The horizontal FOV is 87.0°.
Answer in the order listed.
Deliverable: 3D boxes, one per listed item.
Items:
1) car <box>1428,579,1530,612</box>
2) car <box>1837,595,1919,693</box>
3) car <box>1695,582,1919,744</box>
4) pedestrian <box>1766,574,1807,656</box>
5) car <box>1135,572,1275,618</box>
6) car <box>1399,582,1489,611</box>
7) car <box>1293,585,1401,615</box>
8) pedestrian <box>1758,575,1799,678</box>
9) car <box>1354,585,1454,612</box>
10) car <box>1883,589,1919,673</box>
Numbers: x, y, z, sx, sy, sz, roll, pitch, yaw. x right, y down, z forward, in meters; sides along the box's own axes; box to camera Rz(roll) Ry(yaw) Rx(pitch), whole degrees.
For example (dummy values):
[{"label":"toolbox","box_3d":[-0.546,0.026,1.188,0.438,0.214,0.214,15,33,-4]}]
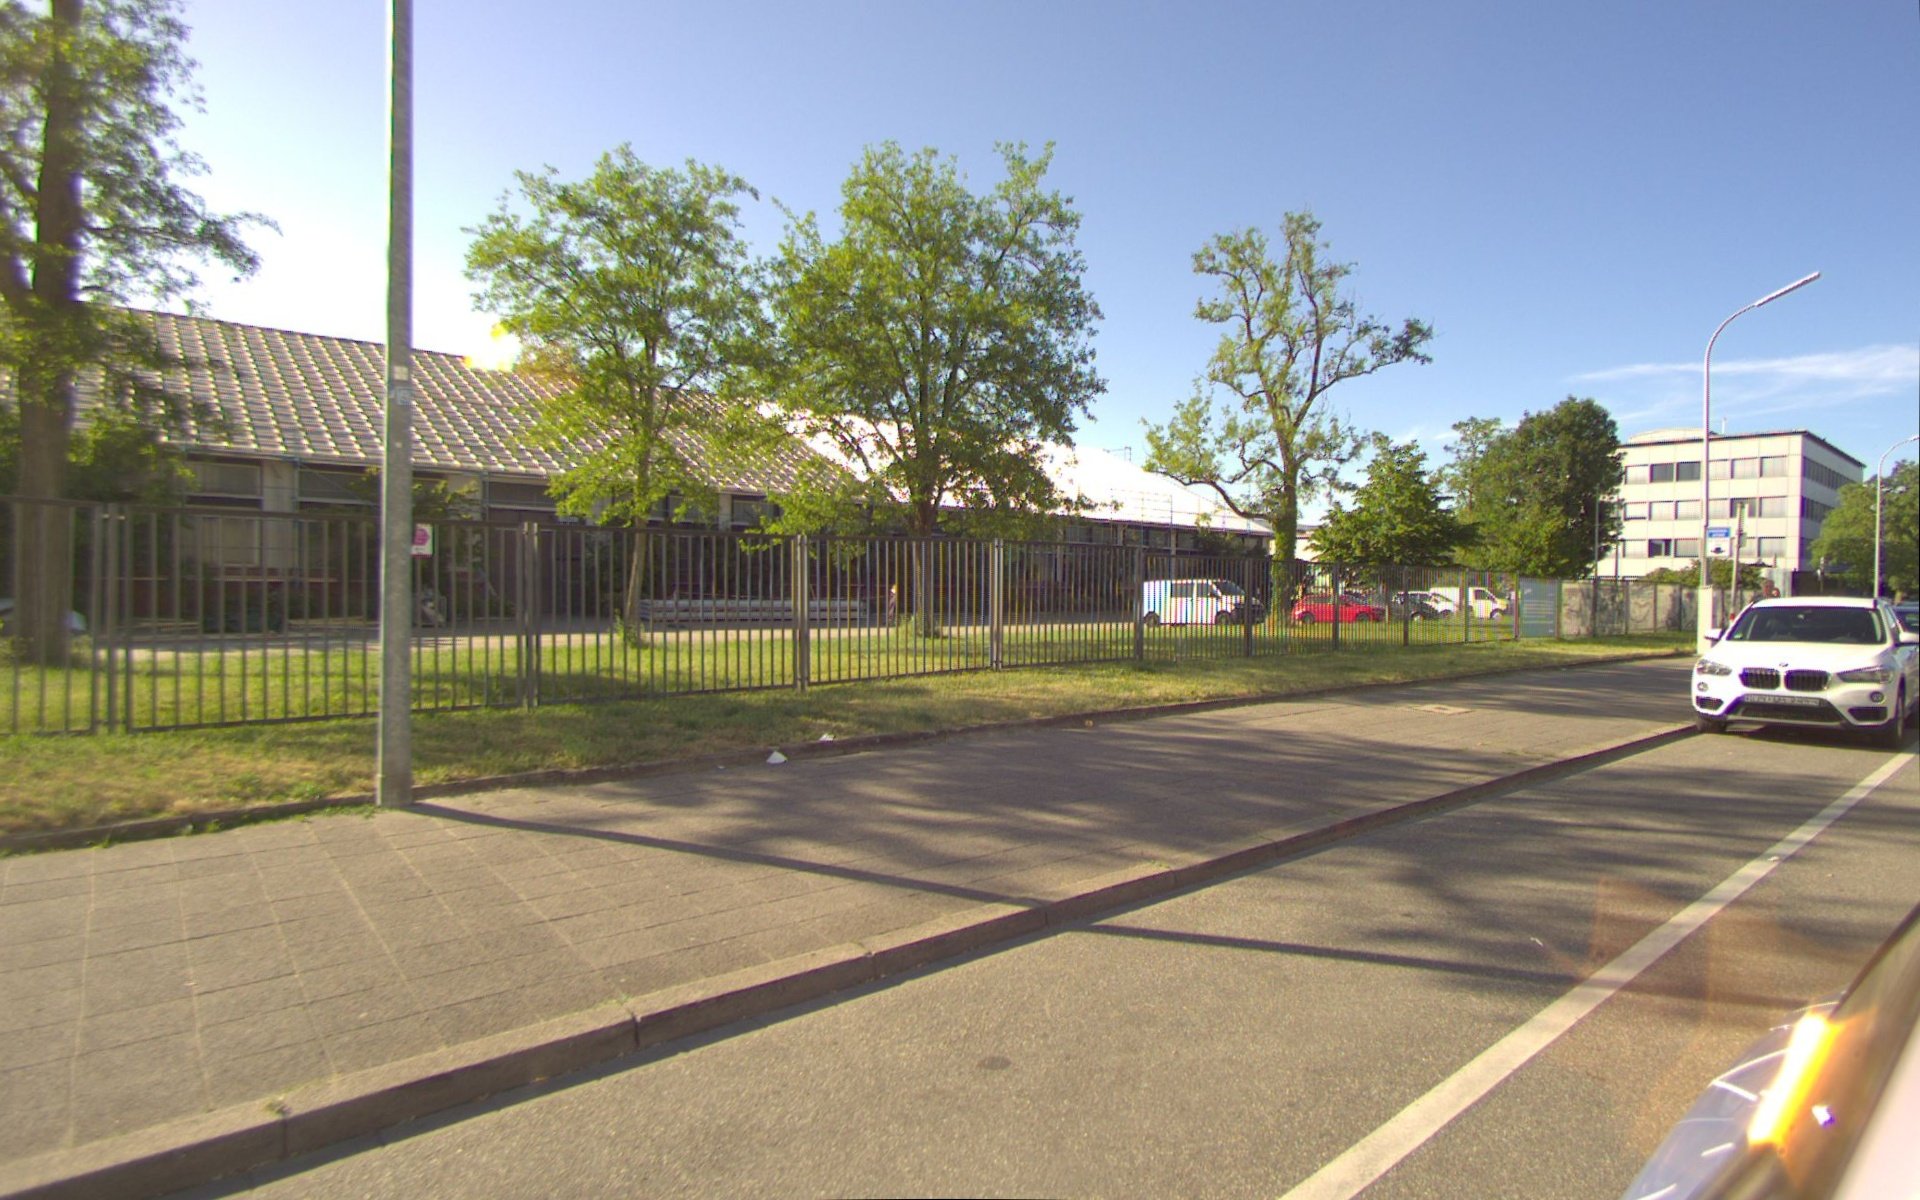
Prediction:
[{"label":"car","box_3d":[28.776,-0.295,56.212,4.630,1.689,1.968,2,1,45]},{"label":"car","box_3d":[16.187,0.680,17.097,3.914,1.506,1.702,0,0,-44]},{"label":"car","box_3d":[10.424,0.630,12.145,4.189,1.608,1.815,0,0,-43]},{"label":"pedestrian","box_3d":[16.714,0.297,20.468,0.672,1.632,0.539,0,-1,-43]},{"label":"car","box_3d":[9.387,-0.176,39.109,2.060,1.665,4.971,0,0,-43]},{"label":"car","box_3d":[25.187,-0.180,52.702,1.647,1.397,3.893,0,1,-43]},{"label":"car","box_3d":[17.164,0.008,44.982,1.797,1.268,4.147,0,0,-43]},{"label":"pedestrian","box_3d":[14.149,0.446,17.499,0.519,1.730,0.516,-1,-1,38]},{"label":"car","box_3d":[21.921,-0.057,50.049,1.847,1.268,4.147,0,0,-43]},{"label":"car","box_3d":[20.464,0.604,20.800,4.276,1.626,1.703,0,0,-41]}]
